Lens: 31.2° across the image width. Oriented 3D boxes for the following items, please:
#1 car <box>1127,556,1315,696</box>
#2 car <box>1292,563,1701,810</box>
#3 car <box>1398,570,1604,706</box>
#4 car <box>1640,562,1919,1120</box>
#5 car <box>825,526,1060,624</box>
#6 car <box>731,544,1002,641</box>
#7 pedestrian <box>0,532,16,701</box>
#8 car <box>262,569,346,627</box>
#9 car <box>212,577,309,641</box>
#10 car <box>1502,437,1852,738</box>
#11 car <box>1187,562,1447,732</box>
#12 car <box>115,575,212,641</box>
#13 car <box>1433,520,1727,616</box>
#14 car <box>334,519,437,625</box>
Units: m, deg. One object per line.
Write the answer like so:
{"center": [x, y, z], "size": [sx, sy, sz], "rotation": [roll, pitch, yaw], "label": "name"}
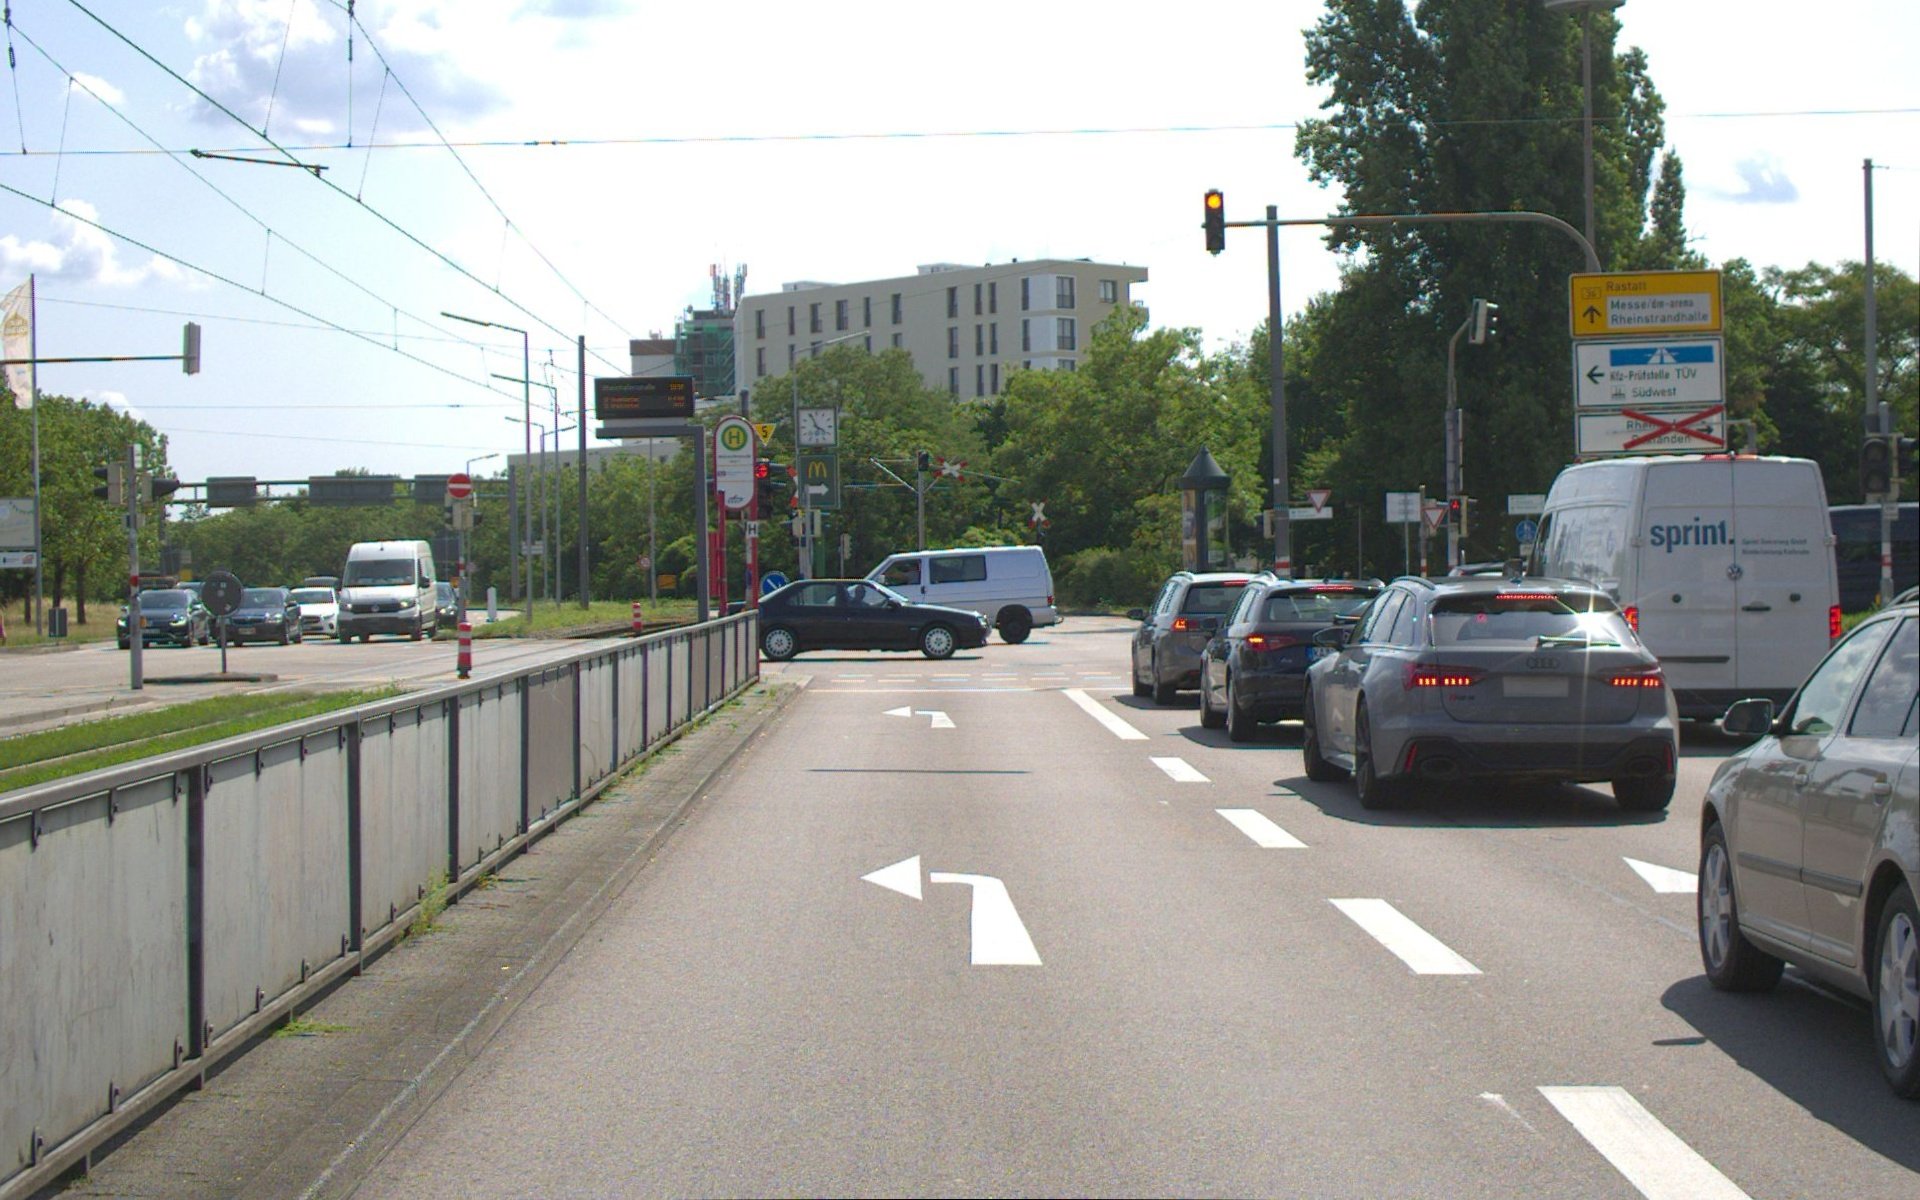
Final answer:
{"center": [2.922, 0.259, 39.295], "size": [1.744, 1.494, 4.380], "rotation": [1, 0, -1], "label": "car"}
{"center": [3.436, 0.495, 22.933], "size": [1.887, 1.443, 4.828], "rotation": [1, 0, -1], "label": "car"}
{"center": [6.127, 0.391, 39.352], "size": [1.745, 1.443, 4.379], "rotation": [1, 0, 1], "label": "car"}
{"center": [3.461, 0.637, 10.894], "size": [1.739, 1.487, 4.630], "rotation": [1, 0, 1], "label": "car"}
{"center": [-0.358, -0.505, 69.783], "size": [4.676, 1.930, 2.000], "rotation": [0, 0, 0], "label": "car"}
{"center": [-1.547, -0.127, 57.973], "size": [4.459, 1.509, 2.000], "rotation": [1, 0, 0], "label": "car"}
{"center": [-10.586, 0.175, 36.774], "size": [0.807, 1.789, 0.709], "rotation": [0, 0, -3], "label": "pedestrian"}
{"center": [-18.156, -0.068, 95.296], "size": [1.802, 1.536, 4.165], "rotation": [1, 0, -4], "label": "car"}
{"center": [-17.611, 0.211, 86.699], "size": [1.896, 1.536, 3.730], "rotation": [1, 0, -4], "label": "car"}
{"center": [6.492, -0.129, 31.772], "size": [2.041, 2.549, 5.231], "rotation": [0, 0, -1], "label": "car"}
{"center": [3.174, 0.386, 31.330], "size": [1.869, 1.415, 4.100], "rotation": [1, 0, -1], "label": "car"}
{"center": [-20.567, 0.200, 88.878], "size": [1.862, 1.645, 4.001], "rotation": [1, 0, -5], "label": "car"}
{"center": [10.377, -0.541, 57.827], "size": [4.675, 1.543, 2.000], "rotation": [-1, 1, 5], "label": "car"}
{"center": [-14.580, -0.700, 87.471], "size": [1.993, 2.597, 4.879], "rotation": [1, 0, -3], "label": "car"}
